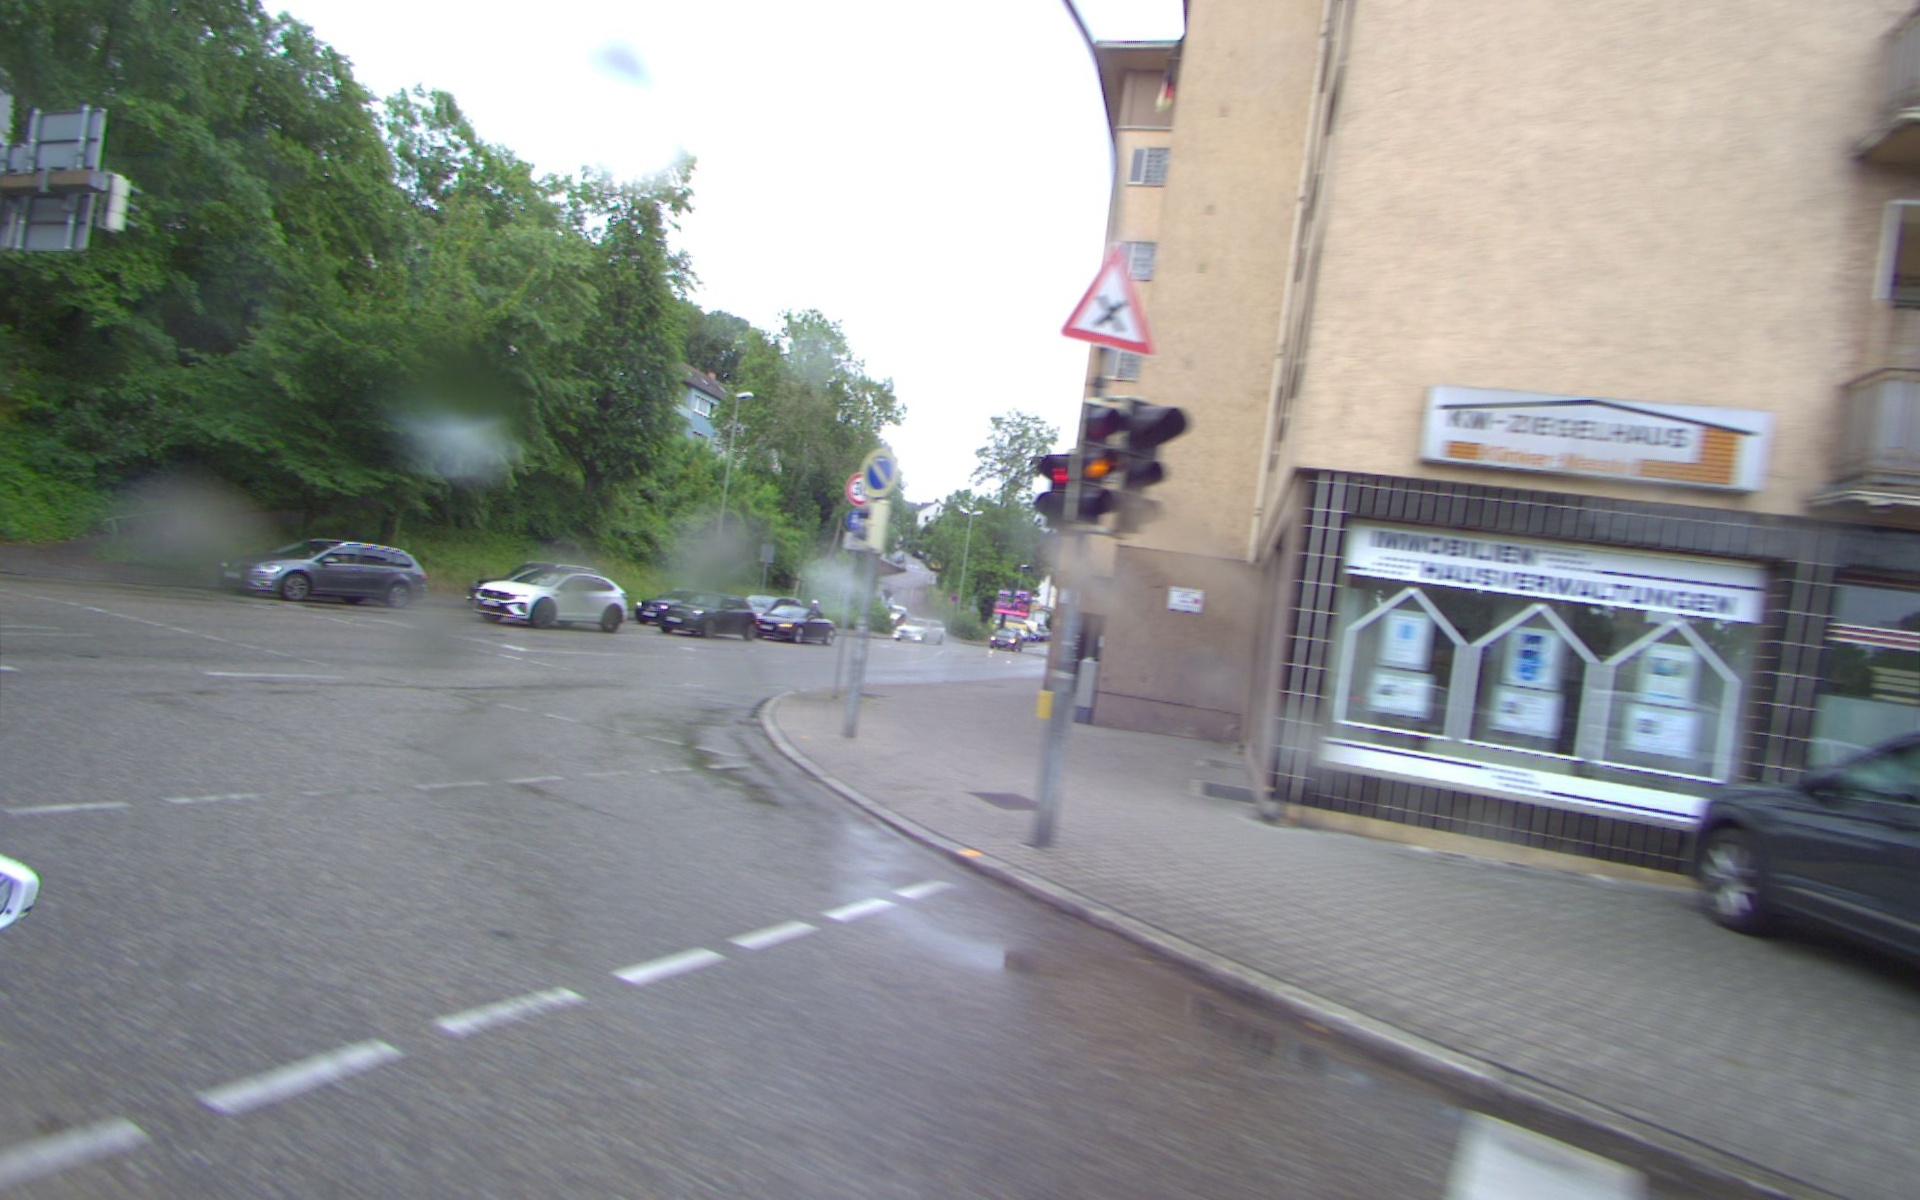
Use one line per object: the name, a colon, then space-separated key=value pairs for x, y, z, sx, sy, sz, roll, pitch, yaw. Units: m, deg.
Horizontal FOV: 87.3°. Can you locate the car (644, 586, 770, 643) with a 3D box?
car: x=-7.994 y=0.504 z=32.247 sx=1.776 sy=1.386 sz=4.157 roll=7 pitch=-1 yaw=20

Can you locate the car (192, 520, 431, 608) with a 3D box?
car: x=-15.068 y=-0.771 z=23.673 sx=1.849 sy=1.520 sz=4.337 roll=7 pitch=0 yaw=23

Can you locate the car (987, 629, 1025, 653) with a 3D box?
car: x=3.285 y=2.900 z=71.149 sx=1.775 sy=1.386 sz=4.159 roll=7 pitch=-1 yaw=13

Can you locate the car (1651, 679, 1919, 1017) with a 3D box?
car: x=6.183 y=1.523 z=5.596 sx=1.847 sy=1.669 sz=4.382 roll=7 pitch=0 yaw=7

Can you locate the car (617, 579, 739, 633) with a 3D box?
car: x=-10.234 y=0.266 z=36.874 sx=1.793 sy=1.499 sz=4.628 roll=7 pitch=-1 yaw=20

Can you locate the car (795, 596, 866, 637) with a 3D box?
car: x=-6.461 y=0.885 z=50.809 sx=1.792 sy=1.717 sz=4.630 roll=7 pitch=-1 yaw=14

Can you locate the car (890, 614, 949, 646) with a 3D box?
car: x=-2.351 y=1.811 z=60.109 sx=1.981 sy=1.500 sz=4.968 roll=7 pitch=-1 yaw=15

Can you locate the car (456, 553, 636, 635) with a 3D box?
car: x=-10.421 y=-0.087 z=25.658 sx=1.776 sy=1.580 sz=4.157 roll=7 pitch=-1 yaw=20

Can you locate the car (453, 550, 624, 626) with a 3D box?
car: x=-12.393 y=-0.293 z=29.933 sx=1.794 sy=1.717 sz=4.626 roll=7 pitch=-1 yaw=23

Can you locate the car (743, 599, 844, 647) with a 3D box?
car: x=-6.117 y=0.903 z=37.448 sx=1.776 sy=1.386 sz=4.157 roll=7 pitch=-1 yaw=20
